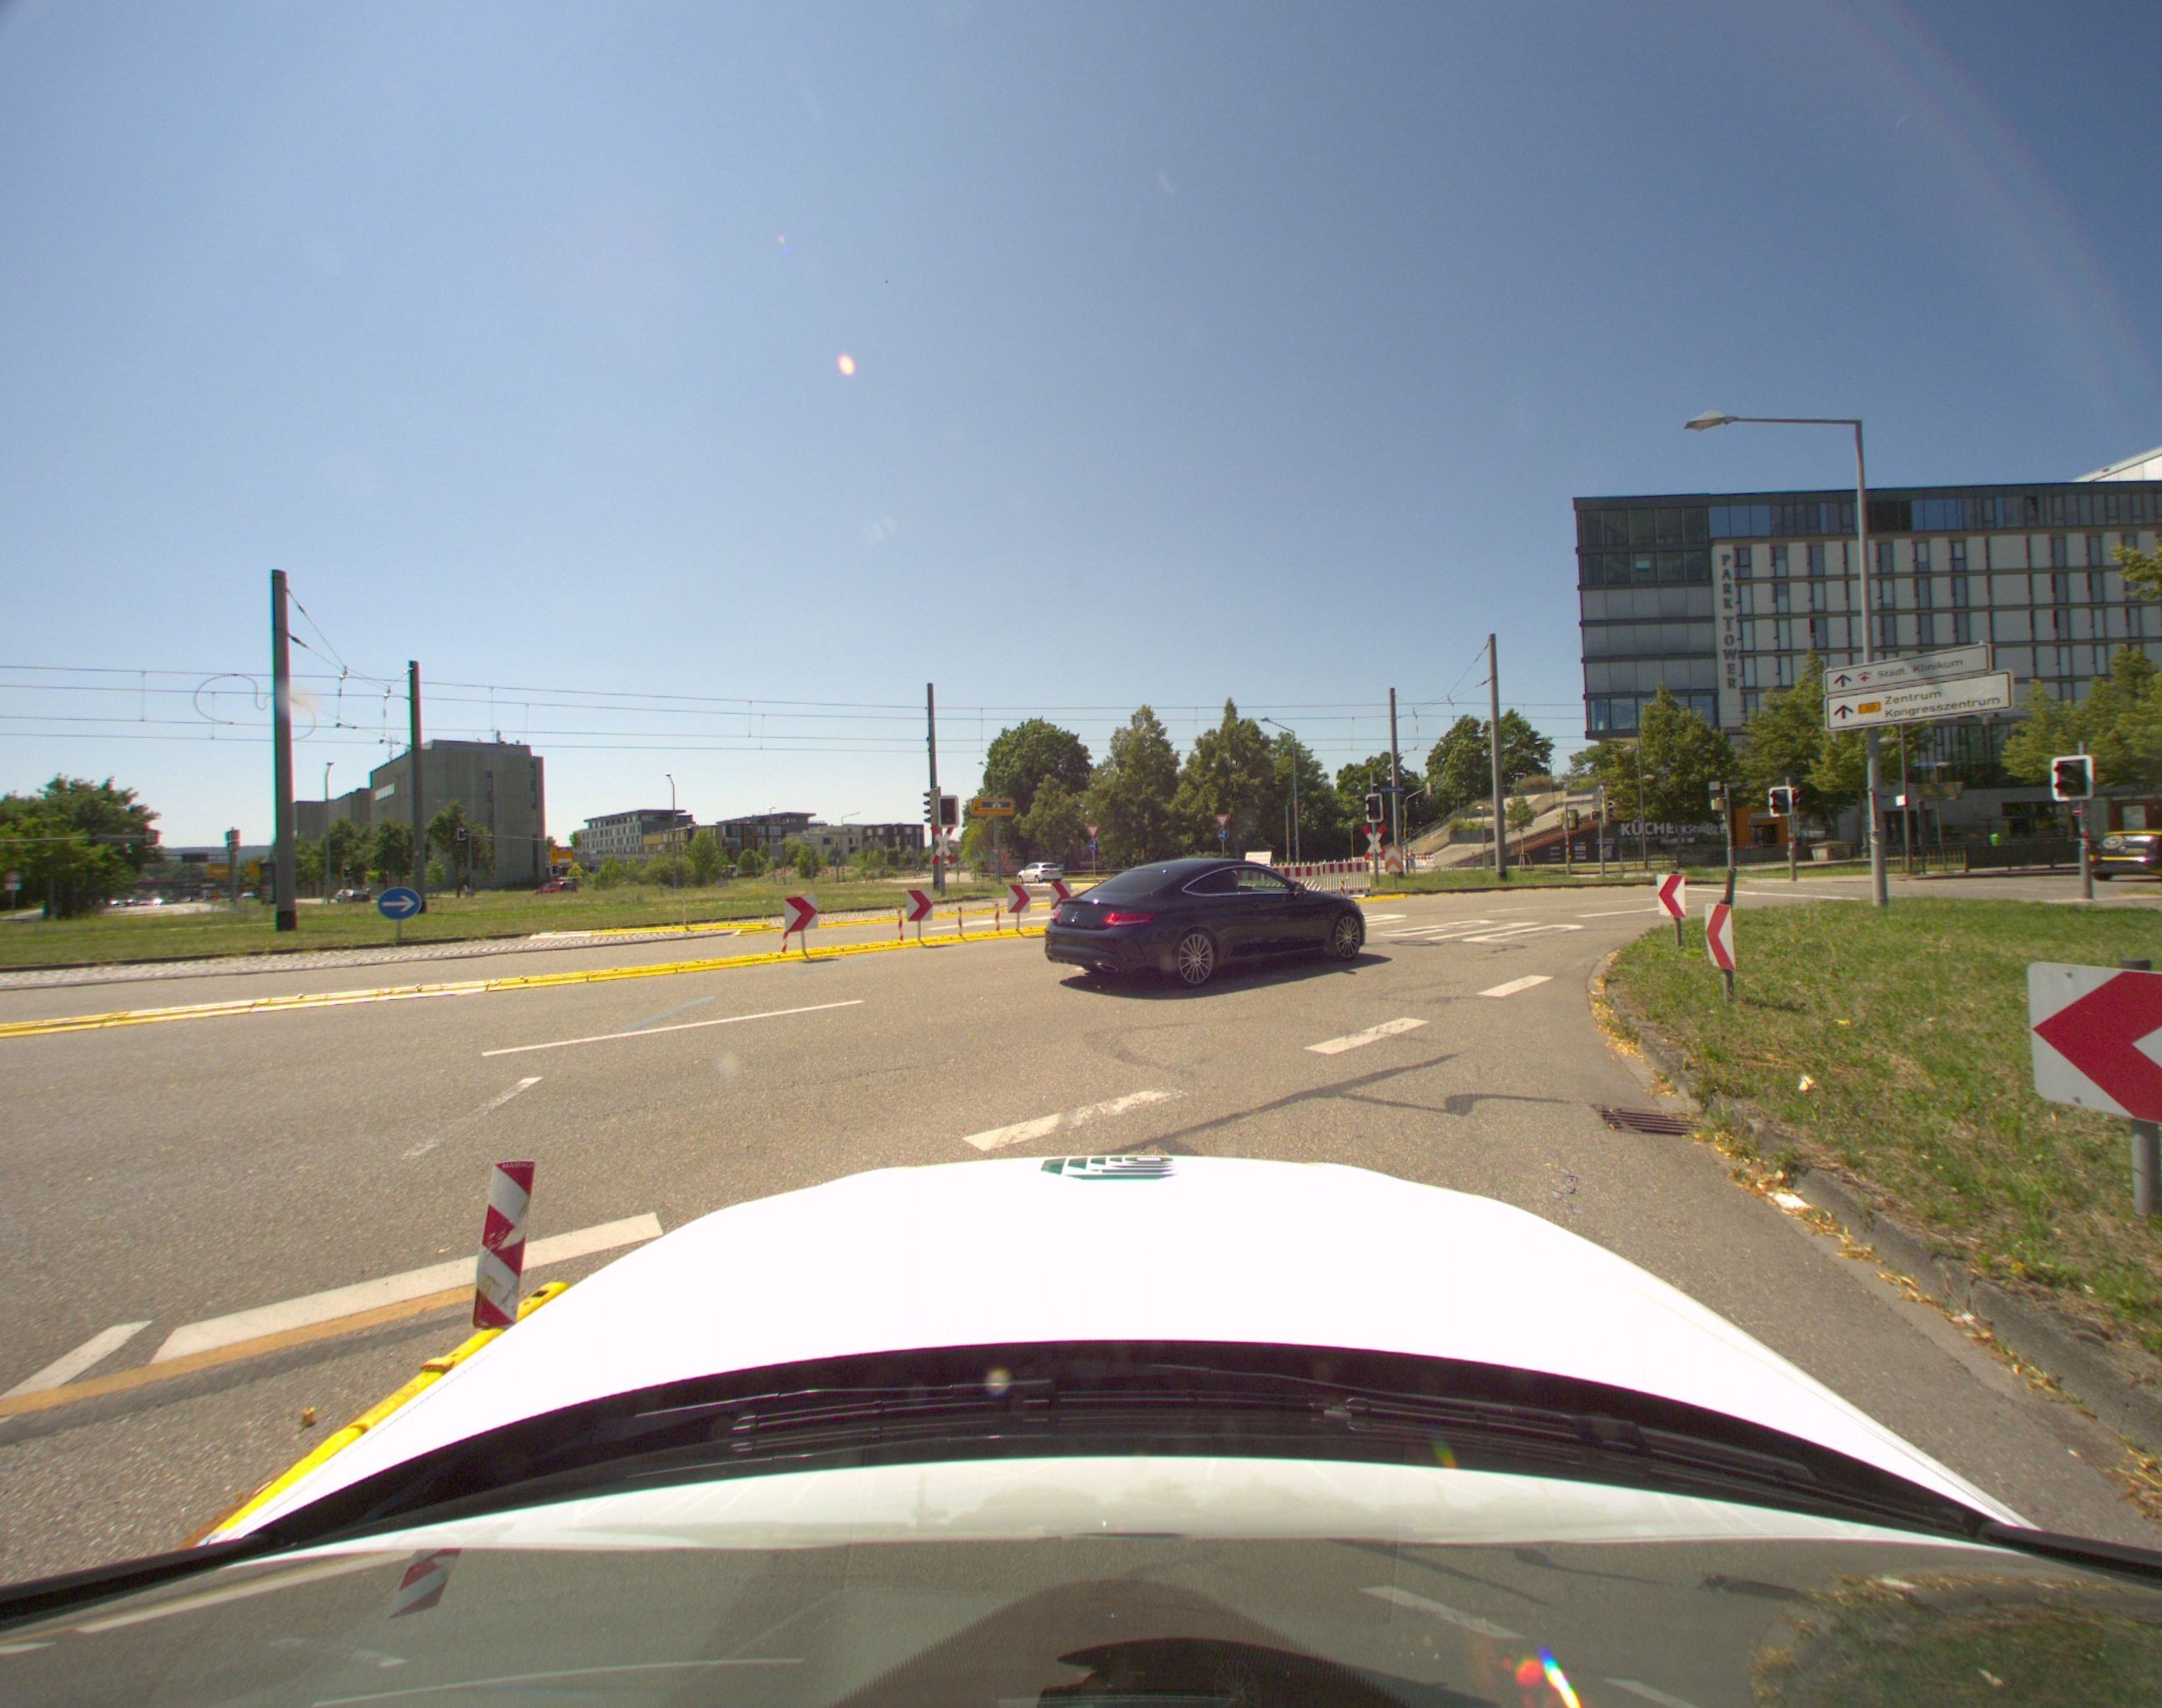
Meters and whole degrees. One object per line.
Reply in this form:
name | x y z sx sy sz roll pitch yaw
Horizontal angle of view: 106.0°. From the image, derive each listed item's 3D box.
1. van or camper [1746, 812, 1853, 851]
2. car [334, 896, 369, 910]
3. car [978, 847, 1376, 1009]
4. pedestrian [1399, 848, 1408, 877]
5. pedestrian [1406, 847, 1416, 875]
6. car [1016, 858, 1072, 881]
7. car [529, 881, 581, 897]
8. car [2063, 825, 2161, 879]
van or camper | 57.952 -1.802 65.730 6.750 2.822 2.380 -2 -1 -4
car | -67.197 4.506 75.009 3.431 1.192 1.565 -2 0 32
car | 1.377 0.705 9.926 4.980 1.436 1.836 -2 -1 -39
pedestrian | 20.154 0.530 50.895 0.446 1.739 0.291 -2 -1 -2
pedestrian | 20.648 0.457 50.934 0.446 1.739 0.318 -2 -1 -2
car | -2.636 1.140 57.383 2.007 1.486 4.322 -2 -1 -32
car | -42.850 2.857 66.361 3.486 1.089 1.502 -2 0 11
car | 30.534 -0.072 22.880 3.962 1.451 1.623 -1 -1 -1
